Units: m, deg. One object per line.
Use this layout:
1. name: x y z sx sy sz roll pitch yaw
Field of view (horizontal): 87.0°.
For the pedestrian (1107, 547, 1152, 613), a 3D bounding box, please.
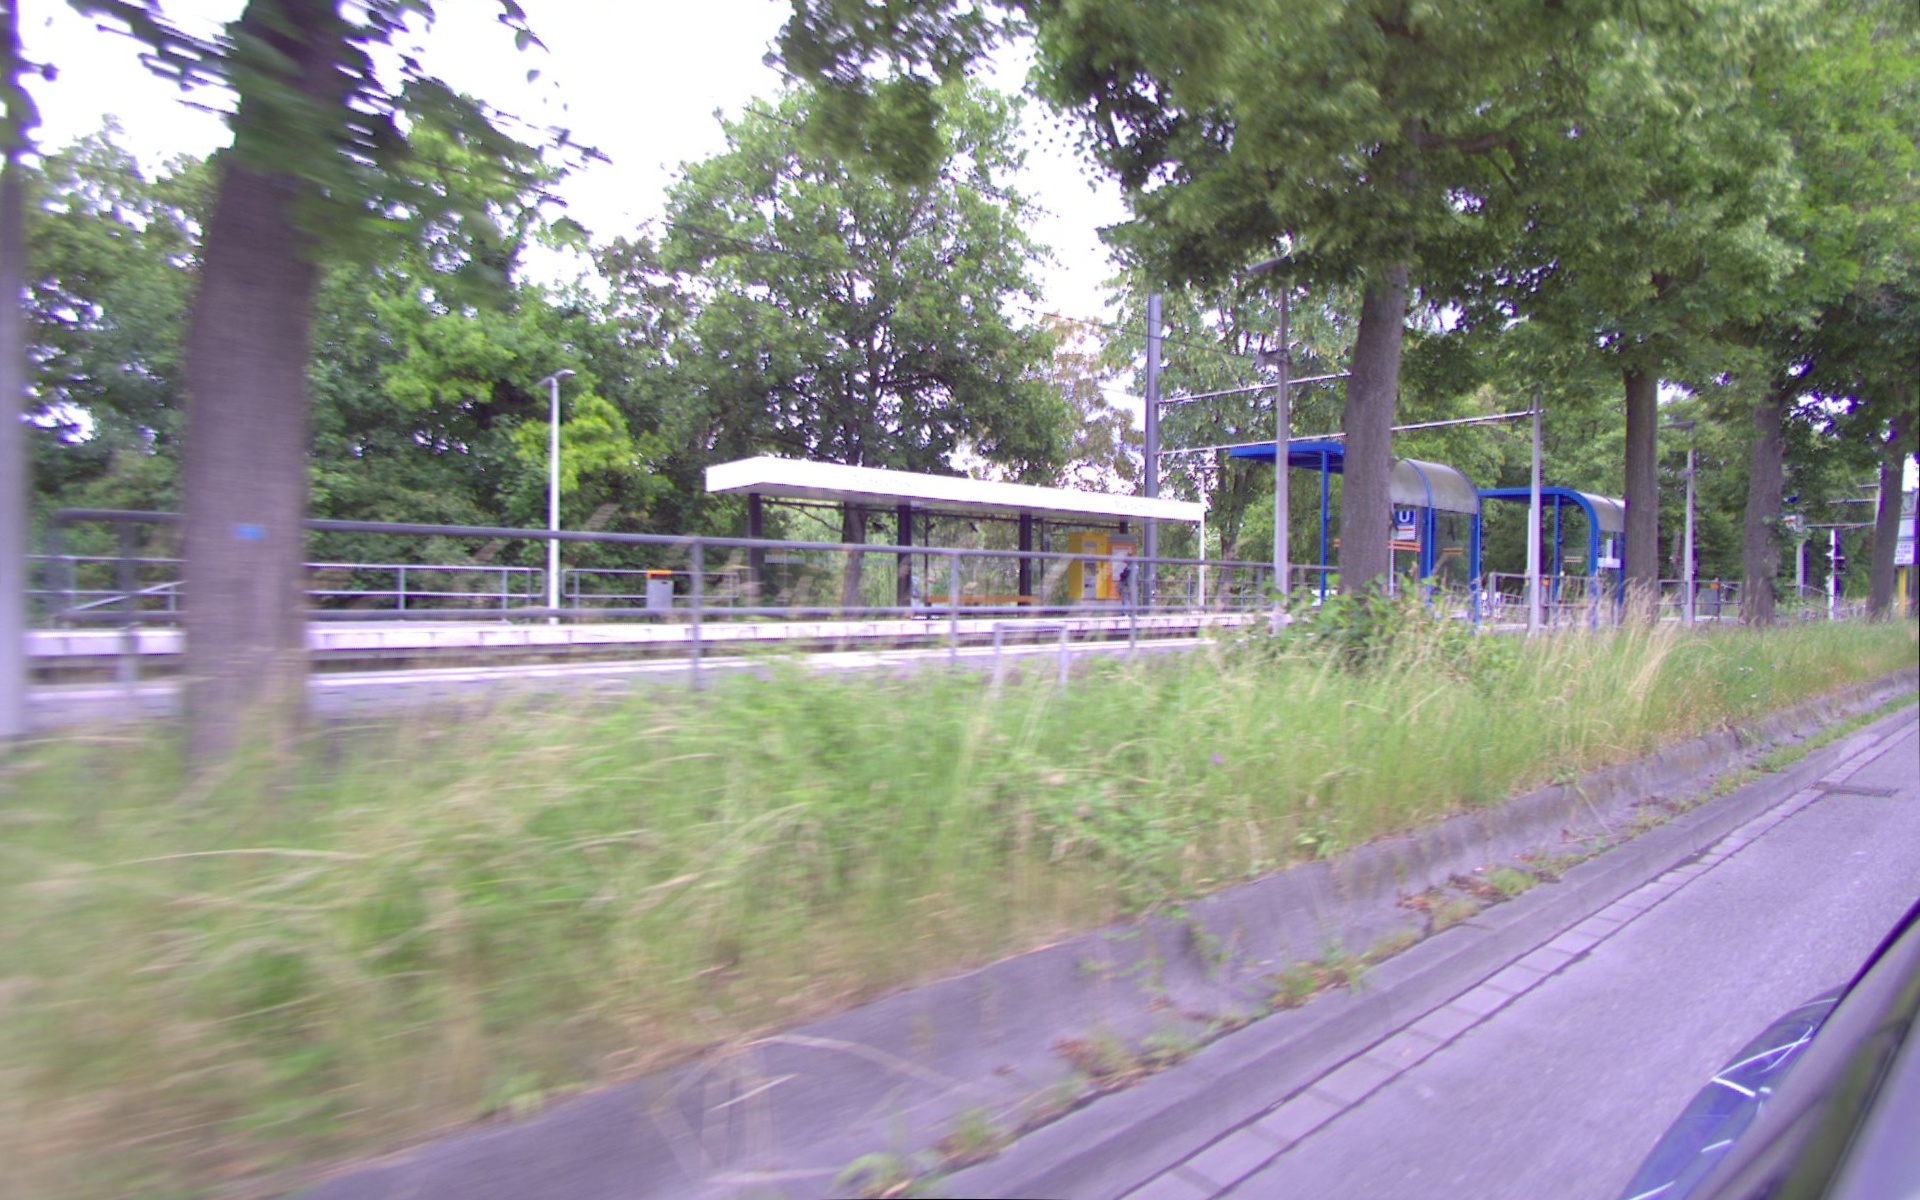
1. pedestrian: 4.010 -0.458 23.978 0.711 1.530 0.720 -1 -1 -38
